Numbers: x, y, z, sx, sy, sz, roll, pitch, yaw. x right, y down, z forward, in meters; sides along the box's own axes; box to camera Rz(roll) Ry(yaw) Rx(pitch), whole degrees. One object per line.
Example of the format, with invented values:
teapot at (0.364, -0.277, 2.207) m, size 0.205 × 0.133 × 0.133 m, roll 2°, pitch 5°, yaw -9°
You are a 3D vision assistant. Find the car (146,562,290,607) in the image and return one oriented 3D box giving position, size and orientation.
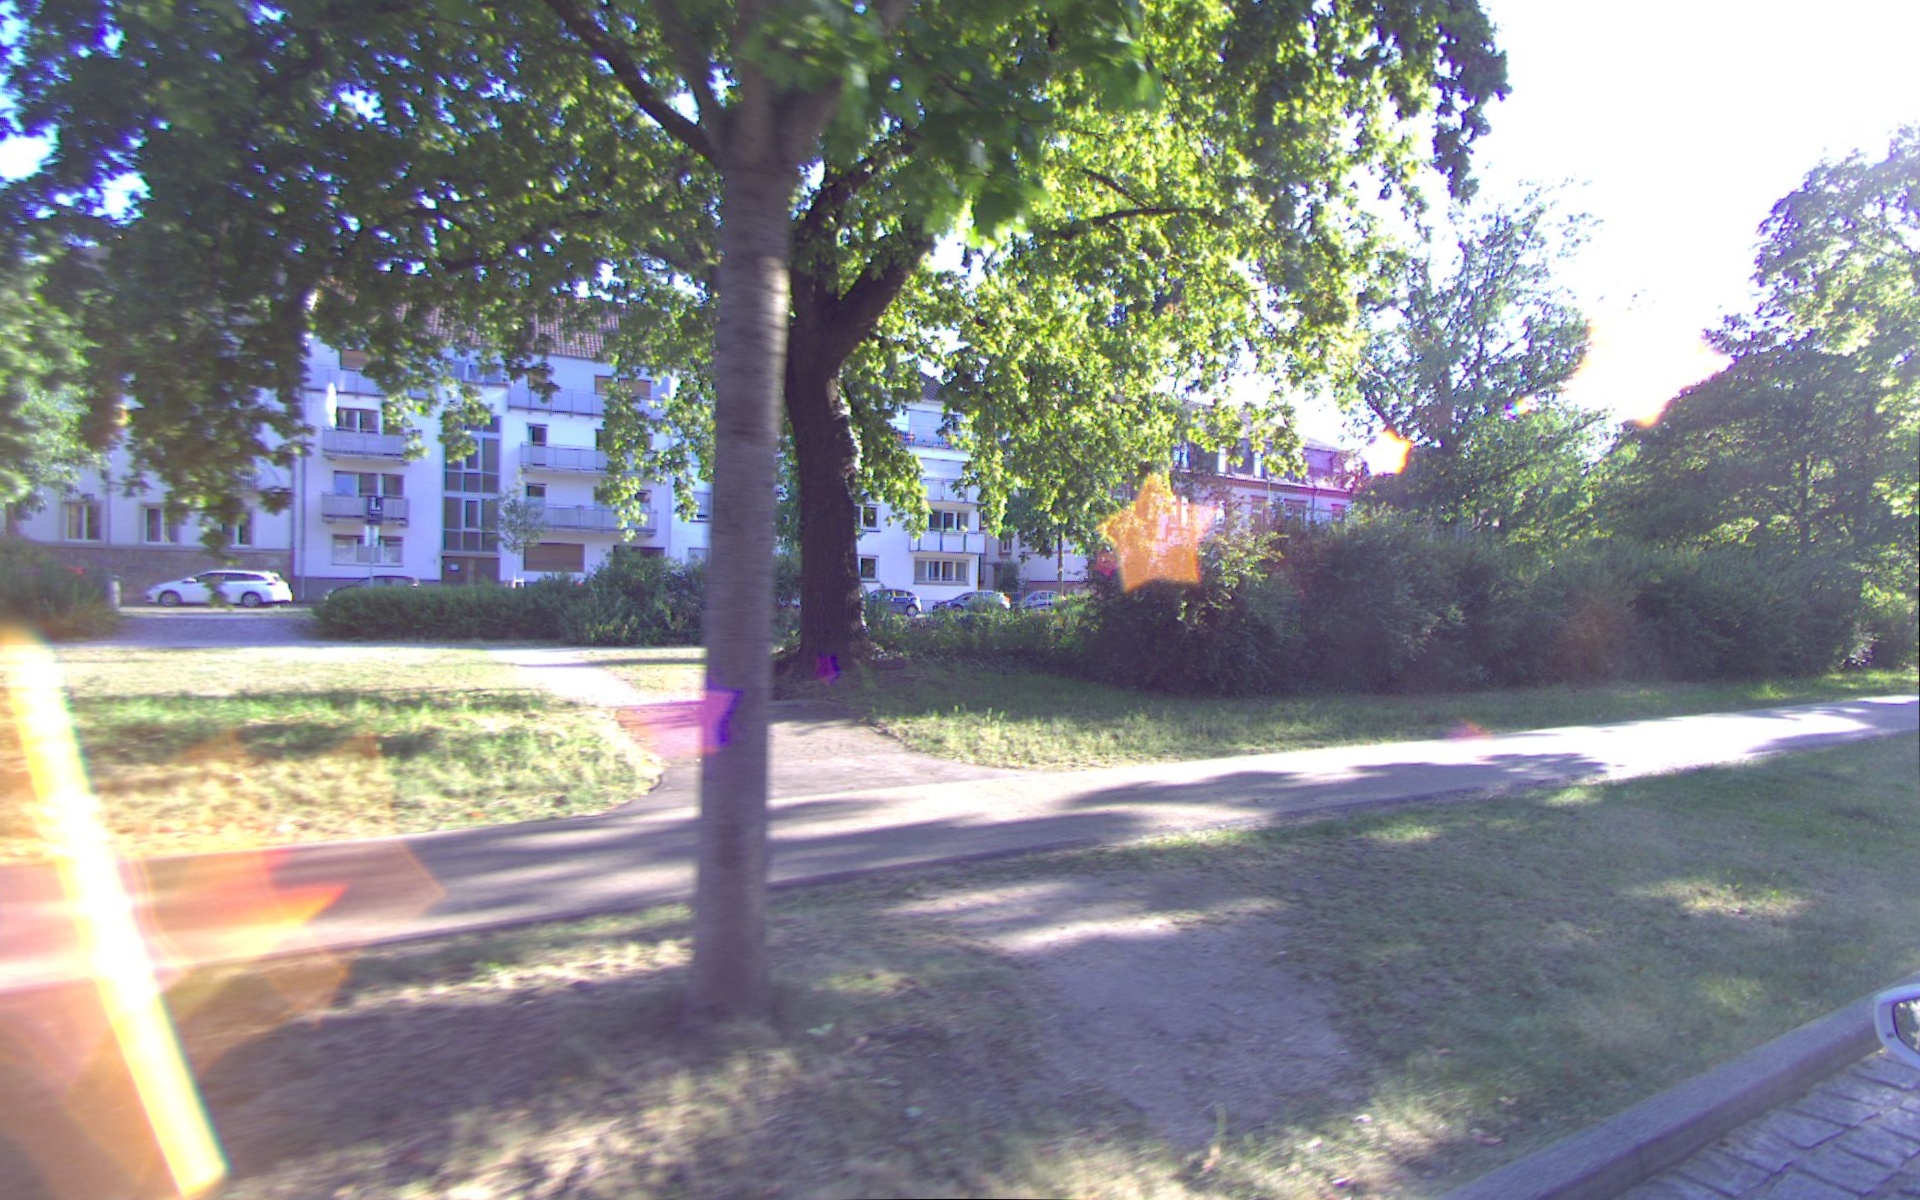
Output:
car at (-28.955, -0.594, 39.366) m, size 4.157 × 1.603 × 1.927 m, roll 1°, pitch 1°, yaw -23°

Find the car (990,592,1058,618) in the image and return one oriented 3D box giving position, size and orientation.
car at (3.487, 0.282, 54.860) m, size 3.335 × 1.336 × 1.627 m, roll 1°, pitch 2°, yaw -29°

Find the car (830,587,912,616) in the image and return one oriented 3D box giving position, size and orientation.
car at (-4.505, 0.097, 50.843) m, size 3.807 × 1.333 × 1.630 m, roll 1°, pitch 2°, yaw -24°

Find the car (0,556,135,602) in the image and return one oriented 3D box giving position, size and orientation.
car at (-33.713, -0.789, 37.457) m, size 4.157 × 1.603 × 1.927 m, roll 1°, pitch 1°, yaw -23°

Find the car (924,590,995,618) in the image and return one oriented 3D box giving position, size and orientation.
car at (-0.037, 0.221, 52.844) m, size 3.335 × 1.335 × 1.627 m, roll 1°, pitch 2°, yaw -29°
